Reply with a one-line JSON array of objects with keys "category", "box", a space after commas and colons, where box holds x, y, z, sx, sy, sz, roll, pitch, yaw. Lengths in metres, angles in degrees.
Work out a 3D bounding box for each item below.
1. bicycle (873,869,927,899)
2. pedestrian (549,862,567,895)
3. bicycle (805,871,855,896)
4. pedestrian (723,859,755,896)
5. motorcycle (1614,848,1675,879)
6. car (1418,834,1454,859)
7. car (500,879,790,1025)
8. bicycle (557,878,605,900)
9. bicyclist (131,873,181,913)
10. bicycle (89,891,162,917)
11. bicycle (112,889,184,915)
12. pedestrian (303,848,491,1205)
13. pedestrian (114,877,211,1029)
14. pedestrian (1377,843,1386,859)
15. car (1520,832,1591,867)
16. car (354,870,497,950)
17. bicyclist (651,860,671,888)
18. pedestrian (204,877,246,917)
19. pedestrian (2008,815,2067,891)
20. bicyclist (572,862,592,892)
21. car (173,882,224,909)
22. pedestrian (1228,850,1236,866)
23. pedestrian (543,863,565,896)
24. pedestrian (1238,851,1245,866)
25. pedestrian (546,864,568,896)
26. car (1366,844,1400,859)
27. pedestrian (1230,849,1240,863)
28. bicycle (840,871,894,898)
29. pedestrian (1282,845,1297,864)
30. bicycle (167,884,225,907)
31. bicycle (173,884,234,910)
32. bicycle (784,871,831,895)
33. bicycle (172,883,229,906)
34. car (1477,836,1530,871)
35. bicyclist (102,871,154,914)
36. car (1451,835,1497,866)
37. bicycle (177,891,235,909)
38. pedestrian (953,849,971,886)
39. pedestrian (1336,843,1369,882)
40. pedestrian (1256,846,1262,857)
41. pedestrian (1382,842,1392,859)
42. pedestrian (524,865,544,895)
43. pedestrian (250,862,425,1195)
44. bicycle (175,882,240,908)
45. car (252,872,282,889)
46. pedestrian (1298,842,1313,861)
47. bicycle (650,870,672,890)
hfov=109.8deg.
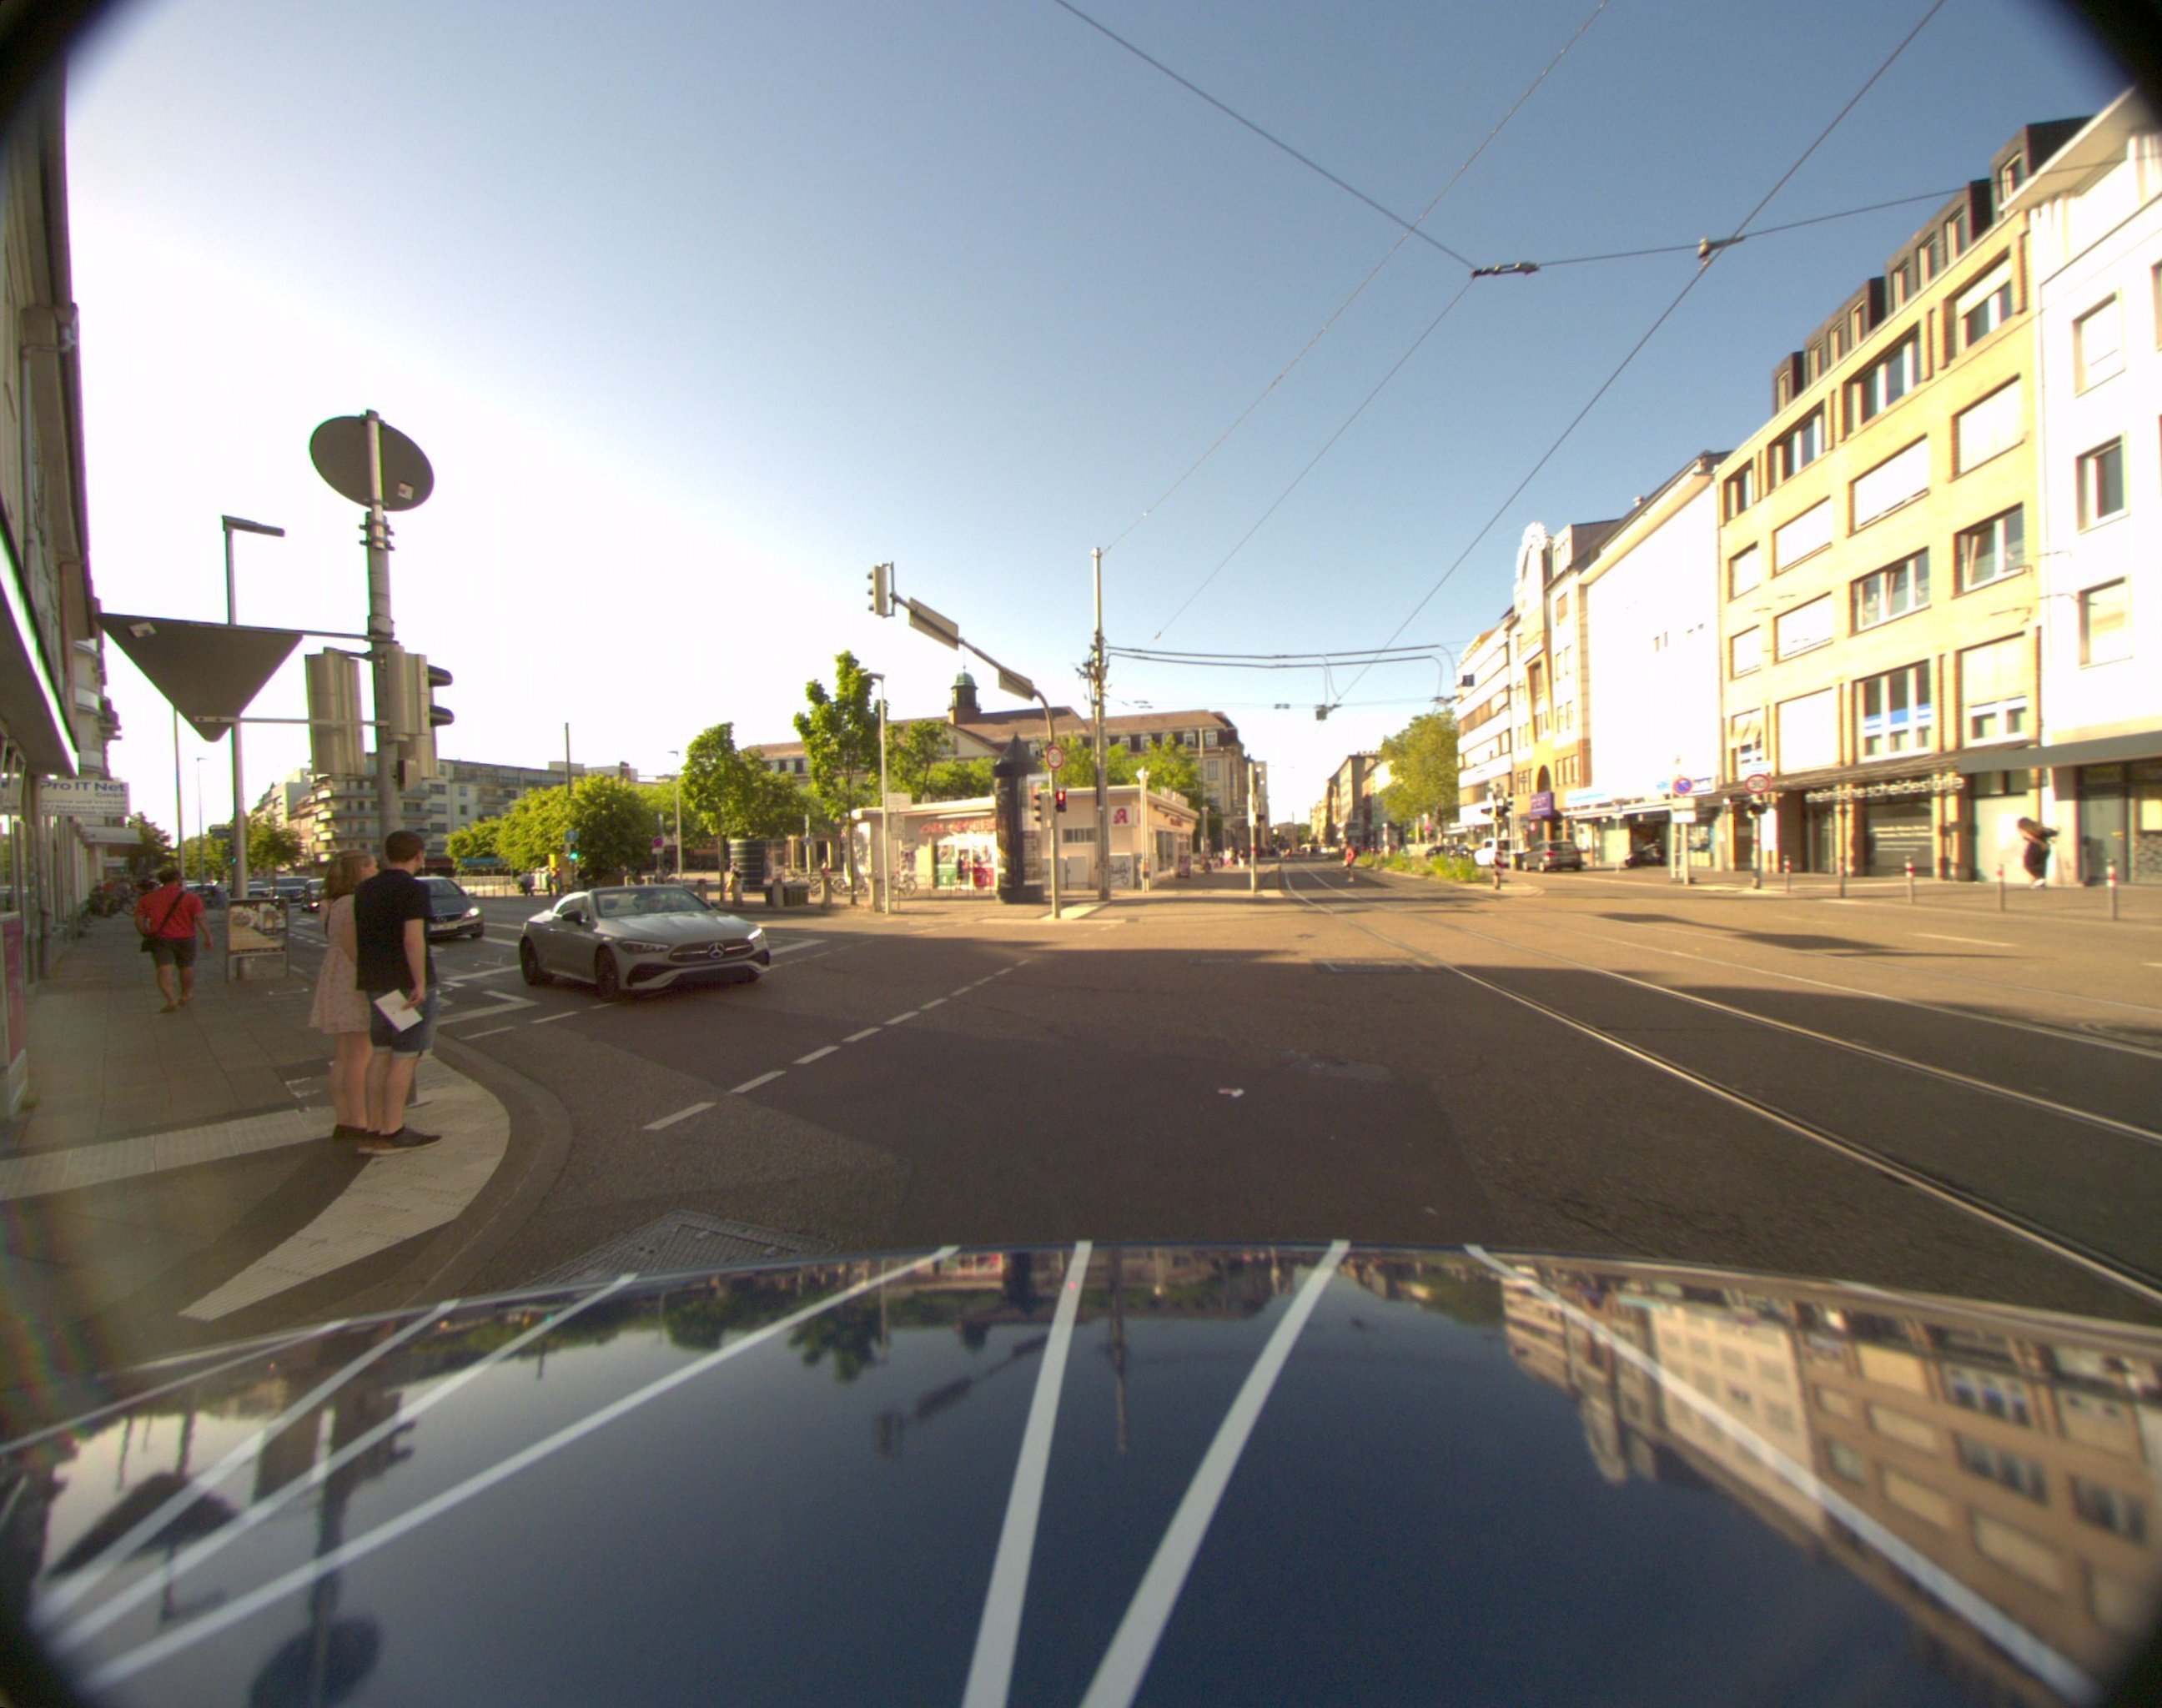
[{"category": "bicycle", "box": [-7.325, 1.197, 30.809, 0.751, 1.082, 1.999, -1, 1, 40]}, {"category": "pedestrian", "box": [-31.063, 1.471, 45.133, 0.781, 1.907, 0.610, -1, 1, 41]}, {"category": "bicycle", "box": [-10.999, 1.281, 33.278, 1.894, 0.996, 0.763, -3, 1, -43]}, {"category": "pedestrian", "box": [-16.022, 1.084, 35.596, 1.083, 1.688, 0.904, -1, 2, 42]}, {"category": "motorcycle", "box": [28.538, 0.486, 38.527, 2.252, 1.496, 1.001, -2, 0, 12]}, {"category": "car", "box": [30.145, -0.601, 64.582, 1.996, 2.002, 4.004, -2, 0, 15]}, {"category": "car", "box": [-6.093, 1.147, 10.410, 4.351, 1.454, 1.915, -2, 2, 39]}, {"category": "bicycle", "box": [-28.095, 1.966, 42.731, 2.179, 1.066, 0.762, -3, 1, -30]}, {"category": "bicyclist", "box": [-41.087, 1.732, 33.763, 1.133, 1.675, 0.725, -2, 1, -24]}, {"category": "bicycle", "box": [-40.973, 2.121, 32.604, 0.563, 0.988, 1.824, -1, 1, 17]}, {"category": "bicycle", "box": [-41.348, 2.120, 33.701, 1.917, 1.014, 0.559, -2, 1, -23]}, {"category": "pedestrian", "box": [-3.924, 0.895, 4.366, 0.679, 1.831, 0.643, -1, 1, 38]}, {"category": "pedestrian", "box": [-10.982, 1.127, 9.104, 0.909, 1.693, 0.693, -1, 0, 40]}, {"category": "pedestrian", "box": [30.422, -0.271, 76.911, 0.707, 1.615, 0.578, -2, 1, -32]}, {"category": "car", "box": [24.809, -0.226, 39.876, 1.996, 1.696, 4.004, -2, 0, 15]}, {"category": "car", "box": [-16.417, 1.302, 18.972, 3.989, 1.718, 2.004, -1, 1, 39]}, {"category": "bicyclist", "box": [-25.031, 1.194, 45.291, 0.945, 1.599, 1.167, -2, 1, -33]}, {"category": "pedestrian", "box": [-36.309, 1.812, 32.242, 0.816, 1.649, 0.765, -3, 1, -14]}, {"category": "pedestrian", "box": [21.793, -0.015, 17.322, 0.710, 1.699, 0.561, -1, 1, 36]}, {"category": "bicyclist", "box": [-28.069, 1.301, 42.780, 0.806, 1.639, 0.991, -3, 2, -29]}, {"category": "car", "box": [-62.121, 2.899, 53.486, 4.187, 1.725, 2.004, -2, 1, 37]}, {"category": "pedestrian", "box": [12.566, 0.322, 63.280, 0.622, 1.266, 0.780, -1, 1, 11]}, {"category": "pedestrian", "box": [-30.090, 1.452, 43.385, 0.782, 1.801, 0.590, -2, 1, 13]}, {"category": "pedestrian", "box": [13.459, 0.389, 63.681, 0.509, 1.266, 0.720, -1, 1, 14]}, {"category": "pedestrian", "box": [-30.425, 1.501, 44.094, 0.783, 1.801, 0.589, -2, 1, -5]}, {"category": "car", "box": [40.352, -0.345, 101.616, 3.992, 1.787, 2.002, -2, 0, 15]}, {"category": "pedestrian", "box": [16.365, 0.202, 80.850, 0.945, 1.456, 0.780, -1, 1, 16]}, {"category": "bicycle", "box": [-9.081, 1.272, 32.276, 2.022, 0.996, 0.886, -2, 1, -37]}, {"category": "pedestrian", "box": [30.345, 0.048, 110.620, 1.947, 2.774, 1.381, -1, 1, 23]}, {"category": "bicycle", "box": [-49.340, 2.301, 42.367, 0.681, 1.174, 2.055, -1, 0, 40]}, {"category": "bicycle", "box": [-45.662, 2.240, 39.559, 0.930, 1.205, 1.950, -2, 0, 34]}, {"category": "bicycle", "box": [-12.687, 1.315, 35.264, 1.894, 0.996, 0.763, -3, 1, -43]}, {"category": "bicycle", "box": [-48.420, 2.235, 41.810, 0.713, 1.143, 2.032, -1, 0, 40]}, {"category": "car", "box": [26.590, -0.058, 47.985, 1.996, 2.002, 4.848, -2, 0, 18]}, {"category": "bicyclist", "box": [-40.969, 1.644, 32.662, 0.752, 1.751, 1.143, -1, 1, 17]}, {"category": "car", "box": [27.635, -0.251, 53.570, 1.996, 2.002, 4.004, -2, 0, 15]}, {"category": "bicycle", "box": [-45.131, 2.362, 39.195, 0.740, 0.826, 1.852, -2, 0, 34]}, {"category": "pedestrian", "box": [-5.429, 0.621, 34.698, 0.609, 1.699, 0.522, -1, 1, 39]}, {"category": "pedestrian", "box": [11.680, 0.359, 32.724, 0.946, 1.654, 0.916, -2, 0, -10]}, {"category": "pedestrian", "box": [22.691, -0.313, 96.958, 0.690, 1.372, 0.780, -1, 1, 16]}, {"category": "pedestrian", "box": [30.780, -0.321, 76.392, 0.707, 1.705, 0.578, -2, 1, -32]}, {"category": "pedestrian", "box": [-31.294, 1.501, 43.455, 0.688, 1.664, 0.696, -2, 1, -20]}, {"category": "pedestrian", "box": [-4.344, 0.936, 4.443, 0.647, 1.749, 0.575, -1, 2, 38]}, {"category": "bicycle", "box": [-46.322, 2.184, 40.315, 0.709, 1.237, 2.147, -1, 0, 35]}, {"category": "car", "box": [-98.594, 3.193, 92.037, 4.770, 1.935, 2.005, -2, -2, 38]}, {"category": "pedestrian", "box": [32.756, -0.355, 110.891, 1.836, 2.774, 1.295, -1, 1, 23]}, {"category": "bicycle", "box": [-25.100, 1.533, 45.389, 0.945, 1.126, 2.473, -2, 1, -33]}]
